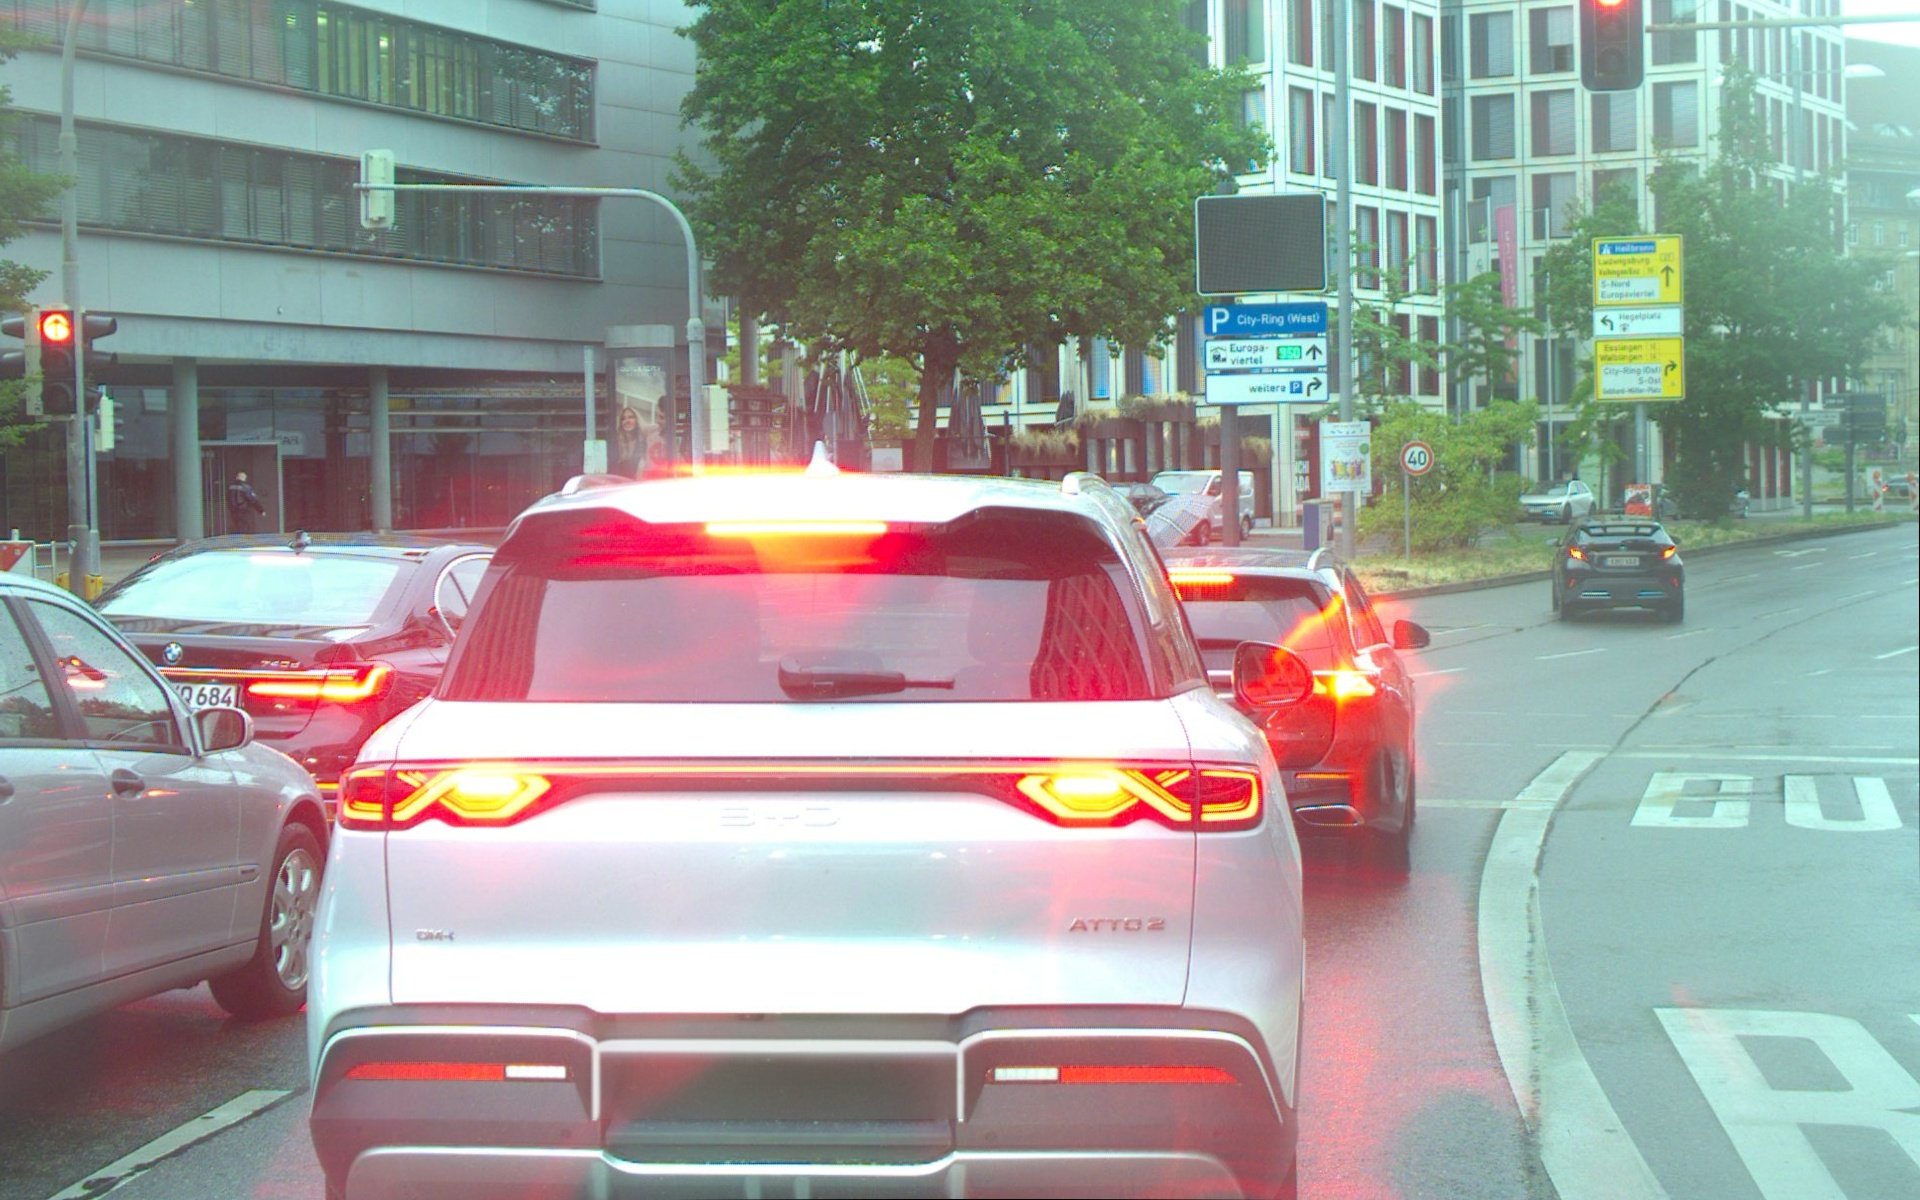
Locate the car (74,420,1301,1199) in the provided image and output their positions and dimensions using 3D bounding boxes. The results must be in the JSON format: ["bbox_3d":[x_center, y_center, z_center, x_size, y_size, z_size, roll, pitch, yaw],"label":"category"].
[{"bbox_3d":[-0.282,0.510,7.802,1.994,1.703,4.482,0,1,4],"label":"car"}]

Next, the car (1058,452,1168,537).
[{"bbox_3d":[4.062,-2.757,90.620,1.739,2.154,4.490,1,1,18],"label":"car"}]

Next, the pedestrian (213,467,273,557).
[{"bbox_3d":[-13.711,-1.677,65.789,0.728,1.721,0.924,0,1,21],"label":"pedestrian"}]

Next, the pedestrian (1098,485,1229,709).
[{"bbox_3d":[1.599,-0.034,27.104,0.921,1.732,0.730,0,1,-5],"label":"pedestrian"}]

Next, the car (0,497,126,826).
[{"bbox_3d":[-5.694,0.305,16.245,1.886,1.590,3.998,0,1,12],"label":"car"}]

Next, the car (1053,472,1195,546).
[{"bbox_3d":[4.065,-2.259,84.589,1.996,1.700,3.995,1,3,27],"label":"car"}]

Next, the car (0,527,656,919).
[{"bbox_3d":[-2.871,0.435,15.608,1.956,1.525,3.998,0,1,11],"label":"car"}]

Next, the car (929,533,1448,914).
[{"bbox_3d":[1.203,0.459,16.101,1.956,1.525,3.998,0,1,11],"label":"car"}]

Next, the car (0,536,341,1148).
[{"bbox_3d":[-3.106,0.587,9.226,1.682,1.481,4.196,0,1,7],"label":"car"}]

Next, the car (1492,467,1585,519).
[{"bbox_3d":[20.173,-3.742,119.697,1.996,1.700,4.303,1,3,27],"label":"car"}]

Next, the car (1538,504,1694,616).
[{"bbox_3d":[9.654,-0.627,50.837,1.994,1.546,3.999,1,2,7],"label":"car"}]
